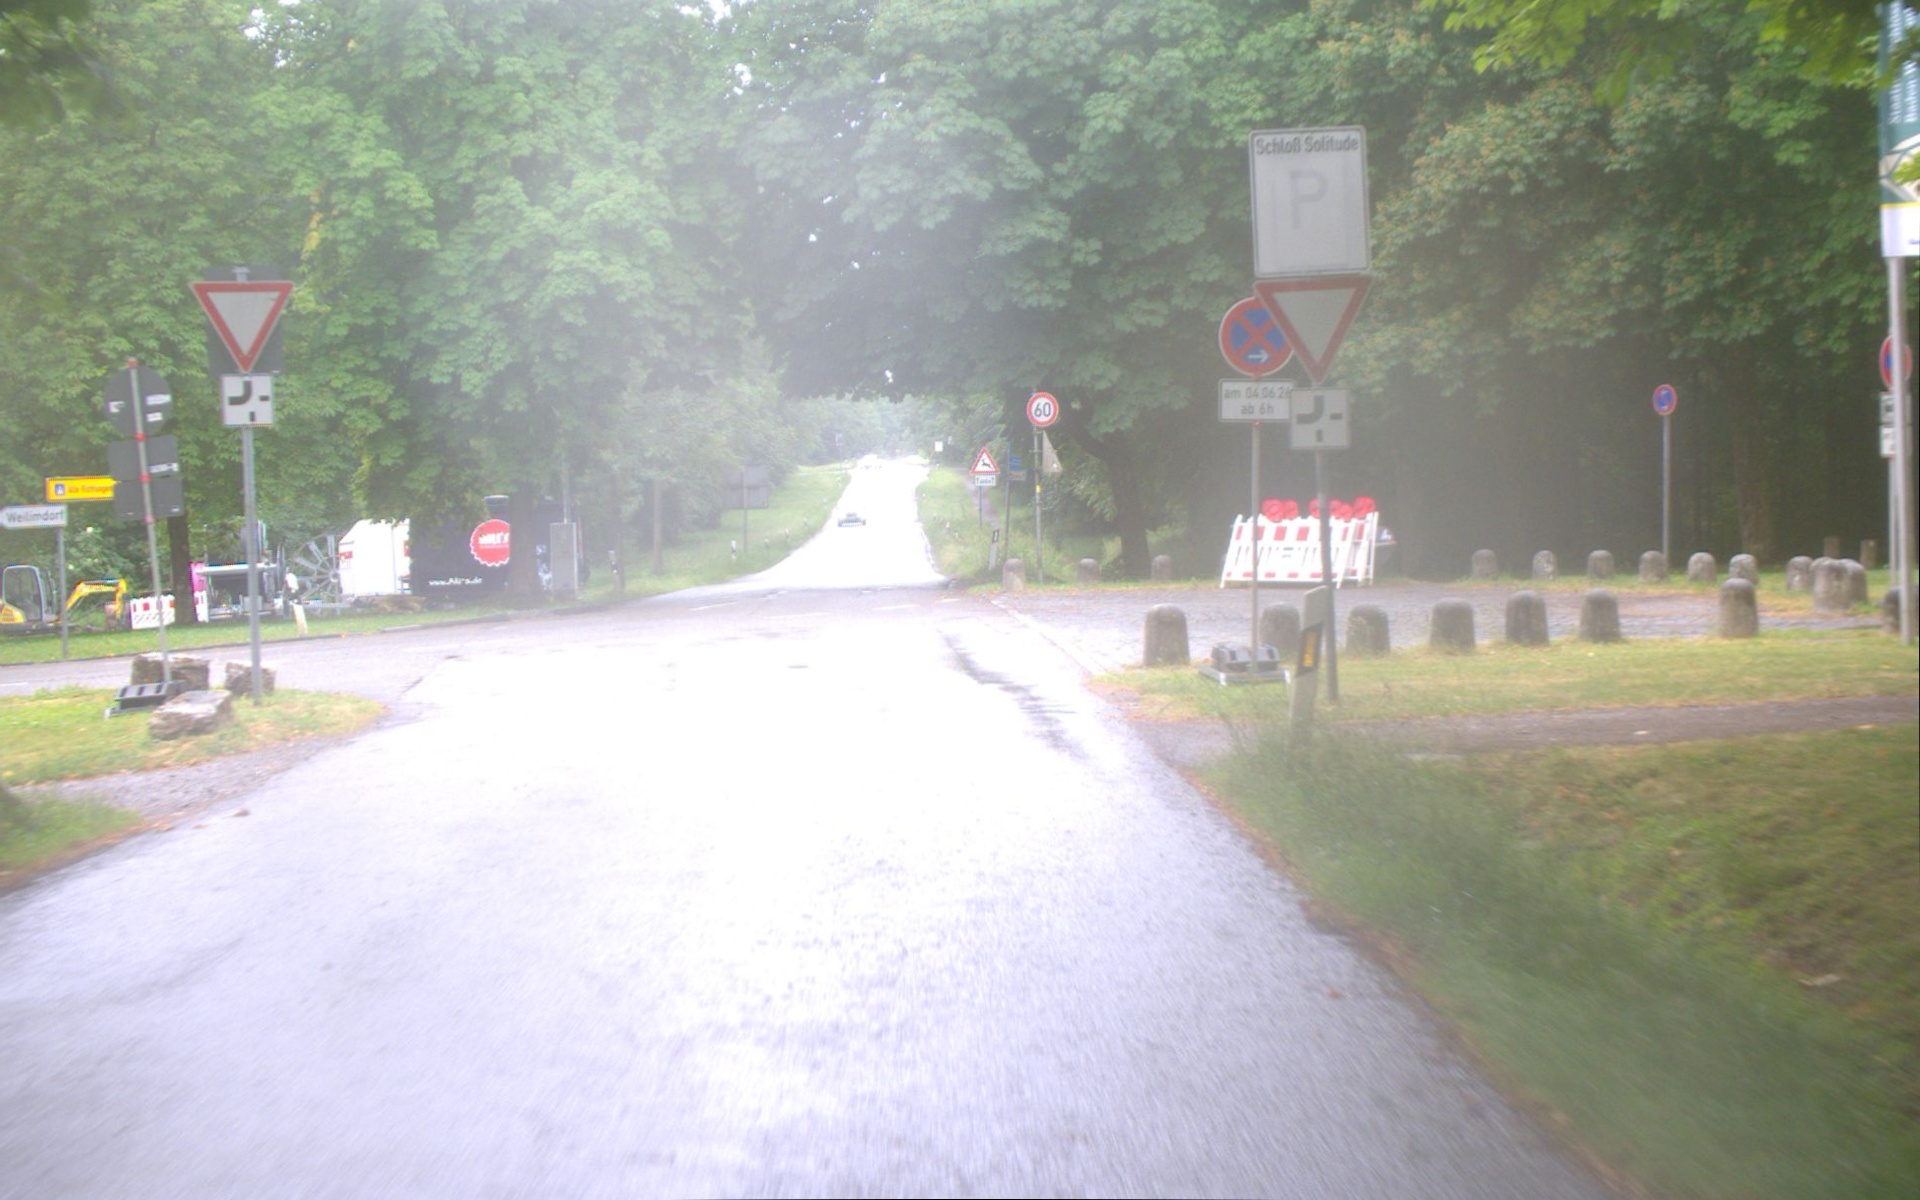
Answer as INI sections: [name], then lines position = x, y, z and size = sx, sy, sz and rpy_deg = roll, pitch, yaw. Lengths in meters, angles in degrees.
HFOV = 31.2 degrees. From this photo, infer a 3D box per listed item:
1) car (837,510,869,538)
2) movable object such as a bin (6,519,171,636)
[car]
position = -7.009, -5.004, 225.638
size = 1.993, 1.711, 4.000
rpy_deg = -3, 1, -1
[movable object such as a bin]
position = -26.636, -0.720, 105.268
size = 4.580, 3.282, 3.667
rpy_deg = -3, 1, -12
